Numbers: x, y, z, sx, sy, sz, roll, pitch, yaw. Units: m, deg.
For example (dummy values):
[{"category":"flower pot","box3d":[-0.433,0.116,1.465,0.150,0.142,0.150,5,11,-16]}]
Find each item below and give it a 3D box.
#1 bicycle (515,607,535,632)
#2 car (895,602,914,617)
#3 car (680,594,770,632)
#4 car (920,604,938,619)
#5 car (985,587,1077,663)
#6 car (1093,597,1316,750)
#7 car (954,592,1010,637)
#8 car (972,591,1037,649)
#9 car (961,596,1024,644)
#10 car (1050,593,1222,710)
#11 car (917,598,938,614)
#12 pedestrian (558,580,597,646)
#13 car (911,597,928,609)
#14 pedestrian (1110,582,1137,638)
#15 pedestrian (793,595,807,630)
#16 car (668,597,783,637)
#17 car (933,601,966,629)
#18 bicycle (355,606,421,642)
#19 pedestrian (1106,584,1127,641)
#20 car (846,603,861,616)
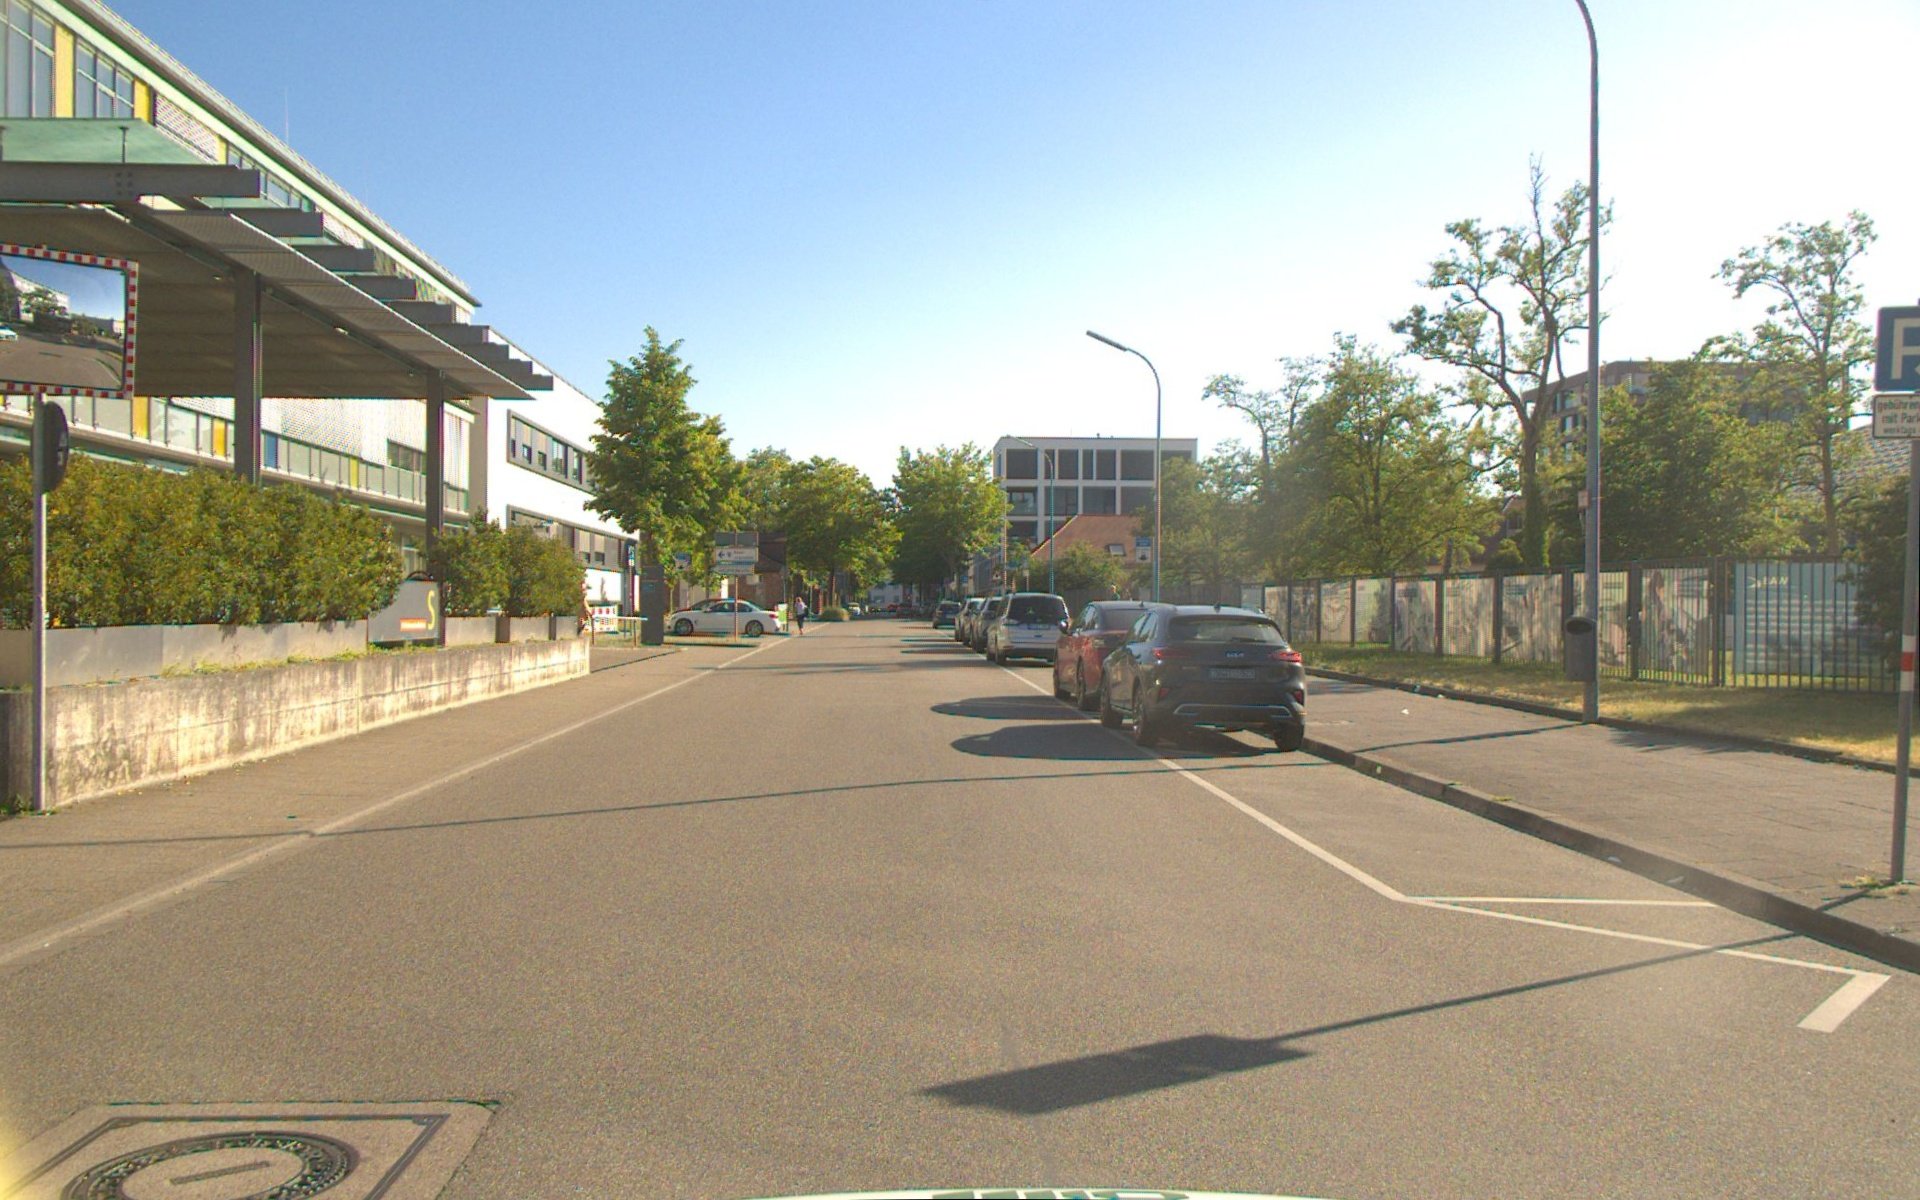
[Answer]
[{"category":"bicycle","box3d":[-15.448,0.698,58.798,0.361,0.878,1.450,0,0,-2]},{"category":"car","box3d":[-5.624,0.965,167.159,1.732,1.575,4.063,0,0,-4]},{"category":"car","box3d":[-9.744,0.532,68.674,3.564,1.495,1.612,1,0,-5]},{"category":"car","box3d":[-3.442,1.217,181.764,1.911,1.606,3.835,0,0,-2]},{"category":"car","box3d":[1.701,0.580,41.109,1.773,1.752,4.701,2,0,-4]},{"category":"car","box3d":[2.675,0.749,18.998,1.667,1.513,4.212,2,0,-4]},{"category":"car","box3d":[0.815,0.530,63.957,1.777,1.616,4.258,2,0,-4]},{"category":"car","box3d":[1.319,0.571,50.396,1.666,1.634,4.351,2,0,-2]},{"category":"car","box3d":[1.071,0.641,56.248,1.667,1.513,3.976,2,0,-5]},{"category":"car","box3d":[2.518,0.692,24.778,1.773,1.536,4.719,2,0,-4]},{"category":"car","box3d":[-3.005,0.593,152.547,1.732,1.465,3.997,0,0,-4]},{"category":"pedestrian","box3d":[-9.488,0.323,41.006,0.757,1.576,0.779,2,-1,-3]},{"category":"car","box3d":[-4.841,0.370,197.478,1.953,1.491,3.835,0,0,-2]},{"category":"pedestrian","box3d":[4.874,0.289,49.185,0.668,1.640,0.540,2,-1,-5]},{"category":"pedestrian","box3d":[-7.007,0.541,72.431,0.527,1.550,0.607,0,0,-2]},{"category":"car","box3d":[-9.327,0.674,65.954,4.427,1.391,1.697,3,0,-8]},{"category":"car","box3d":[-0.603,0.794,91.688,1.781,1.478,4.212,0,0,-2]},{"category":"bicycle","box3d":[-16.164,0.680,46.741,1.681,1.011,0.536,0,0,-4]},{"category":"pedestrian","box3d":[4.812,0.377,50.833,0.511,1.738,0.521,2,-1,-5]},{"category":"car","box3d":[-12.375,1.060,192.152,1.732,1.513,3.997,0,0,-4]}]
